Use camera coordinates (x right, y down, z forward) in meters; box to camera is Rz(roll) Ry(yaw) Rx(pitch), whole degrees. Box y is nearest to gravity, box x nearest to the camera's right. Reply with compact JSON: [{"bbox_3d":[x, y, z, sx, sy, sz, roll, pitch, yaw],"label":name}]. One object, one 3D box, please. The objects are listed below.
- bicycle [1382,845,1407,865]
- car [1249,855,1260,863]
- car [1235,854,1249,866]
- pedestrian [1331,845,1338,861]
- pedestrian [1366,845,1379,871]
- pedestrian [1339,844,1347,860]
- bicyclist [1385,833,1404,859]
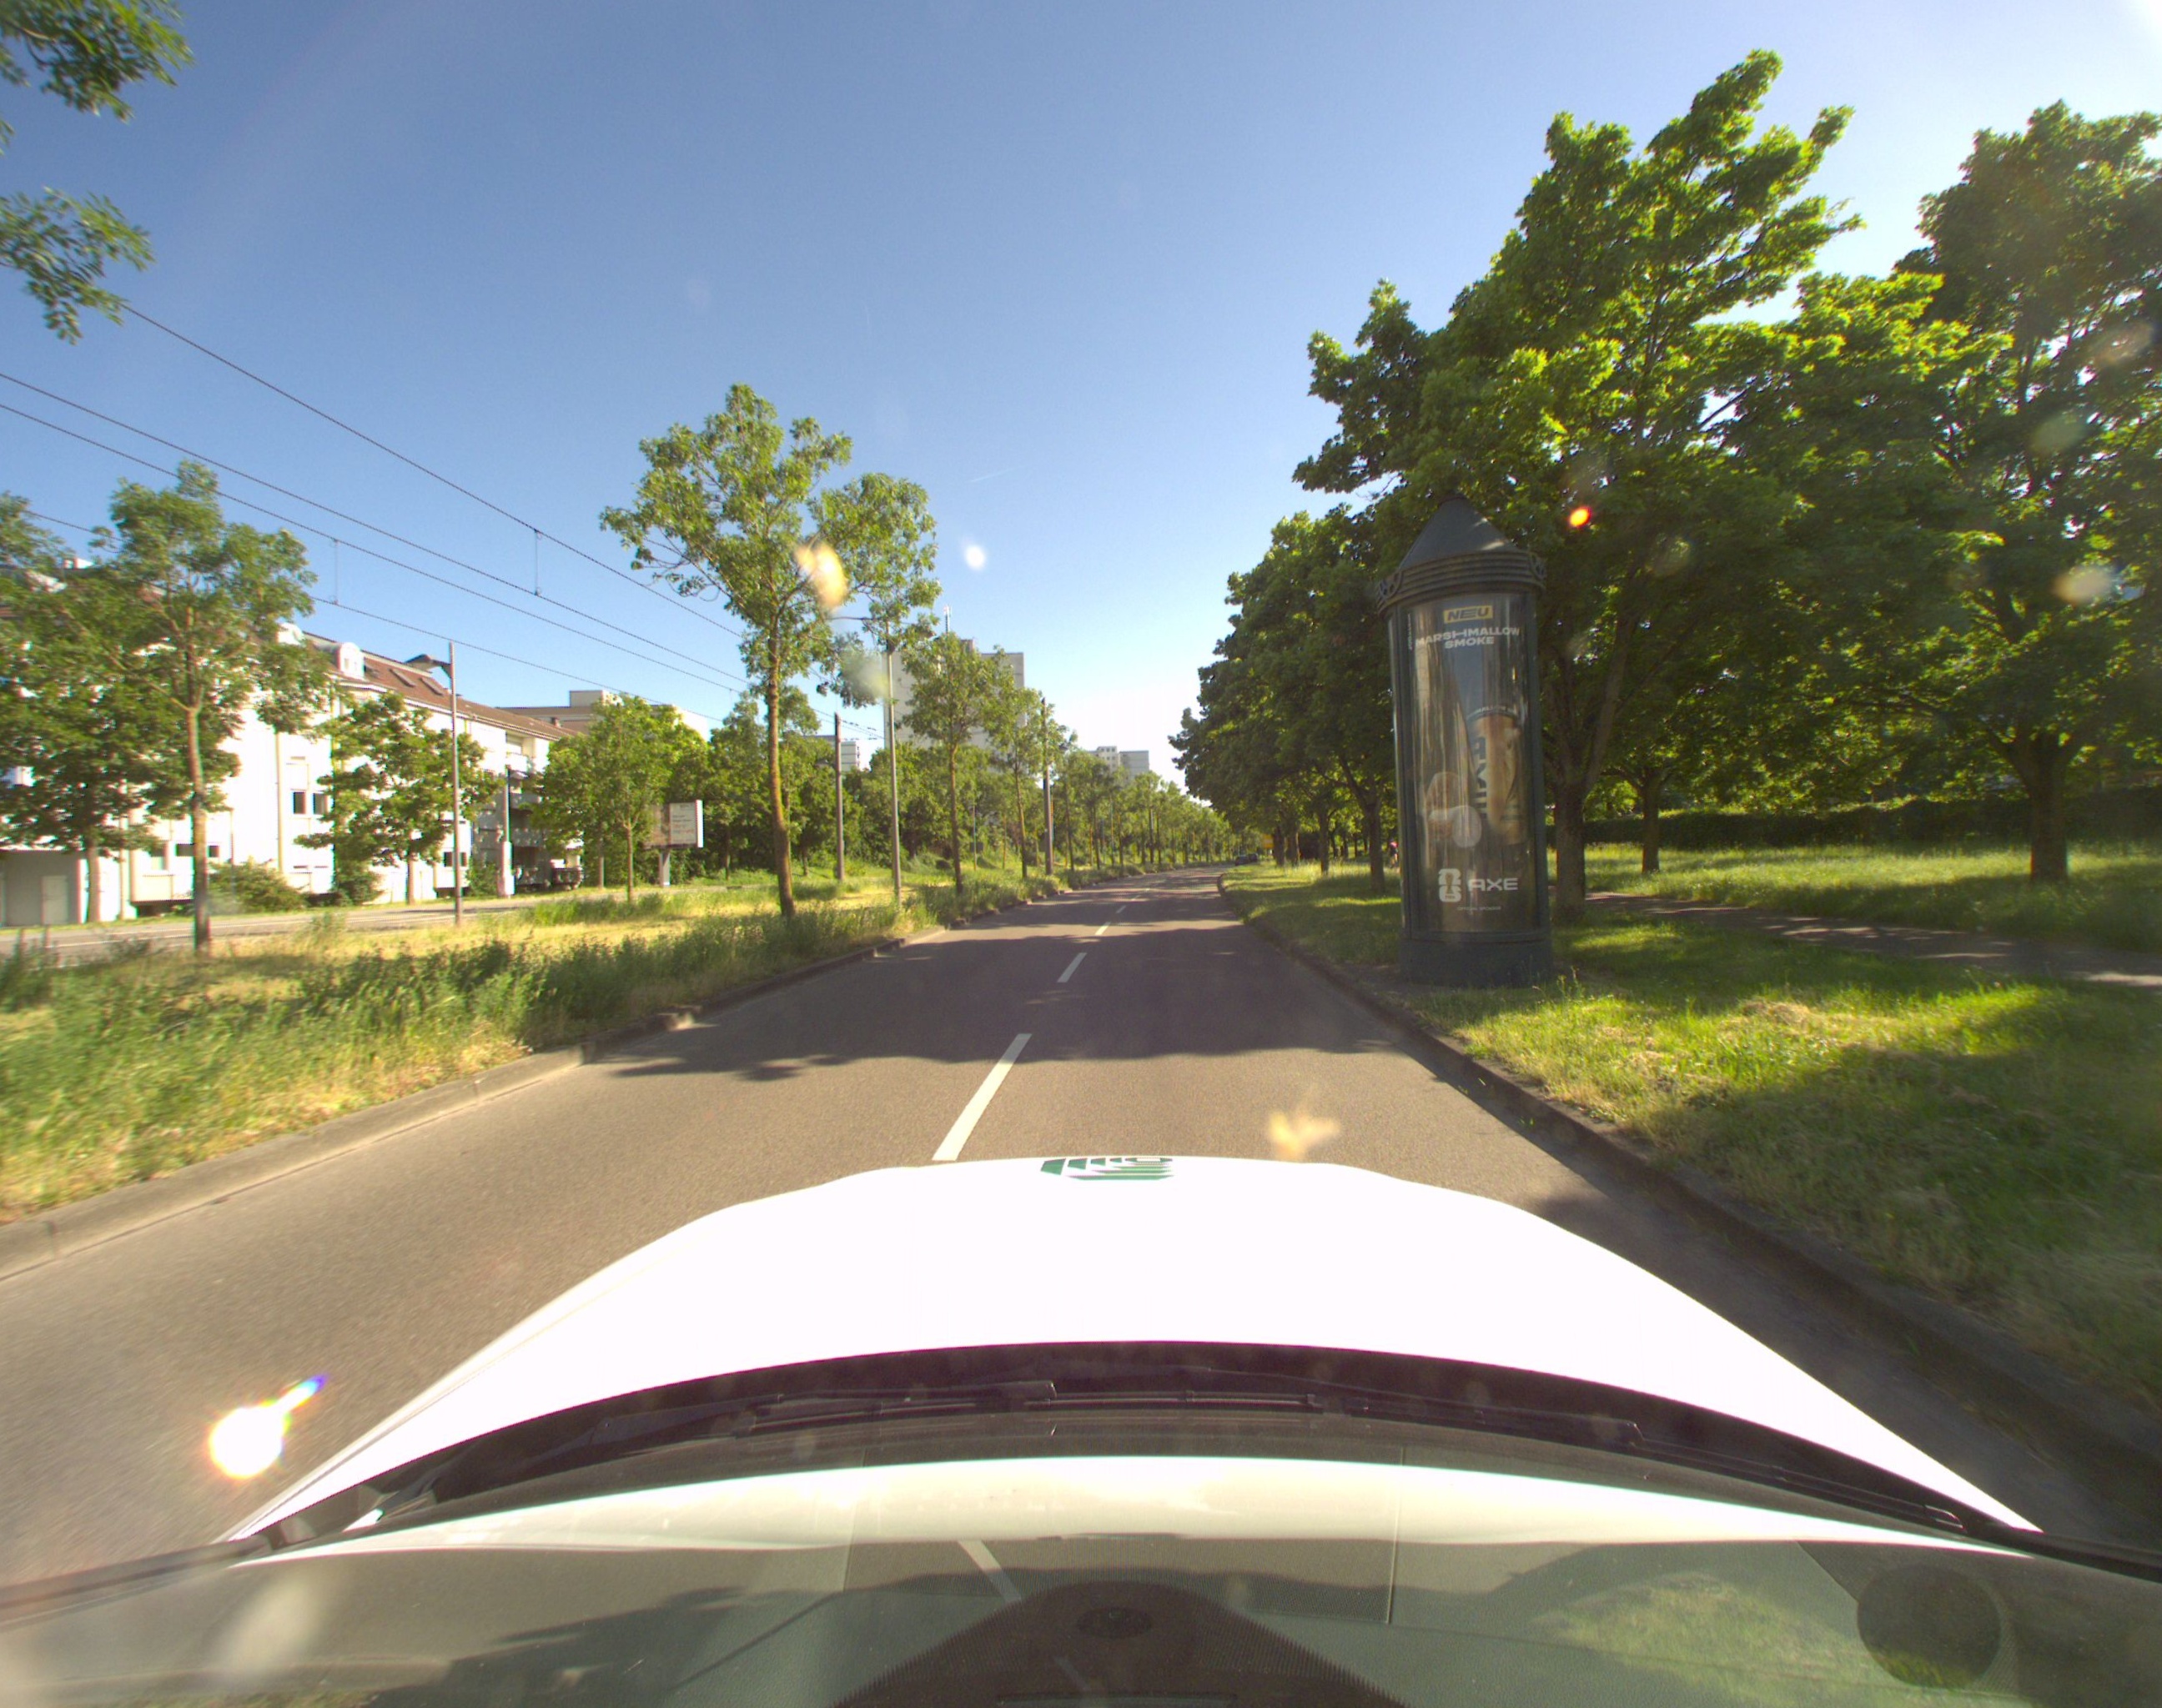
[{"bbox_3d":[17.747,0.033,46.089,0.786,1.047,2.156,-3,-1,36],"label":"bicycle"},{"bbox_3d":[32.244,0.930,151.172,1.621,1.498,4.254,-1,0,18],"label":"car"},{"bbox_3d":[22.049,0.796,111.502,1.622,1.498,4.250,-1,0,14],"label":"car"},{"bbox_3d":[27.267,-0.116,87.569,0.542,1.622,0.849,-3,-1,25],"label":"pedestrian"},{"bbox_3d":[20.677,0.253,57.835,0.711,1.803,0.797,-2,-1,12],"label":"pedestrian"},{"bbox_3d":[28.022,-0.171,87.100,0.630,1.692,0.849,-3,-1,25],"label":"pedestrian"},{"bbox_3d":[17.757,-0.468,46.130,0.782,1.450,0.850,-3,-1,36],"label":"bicyclist"}]
